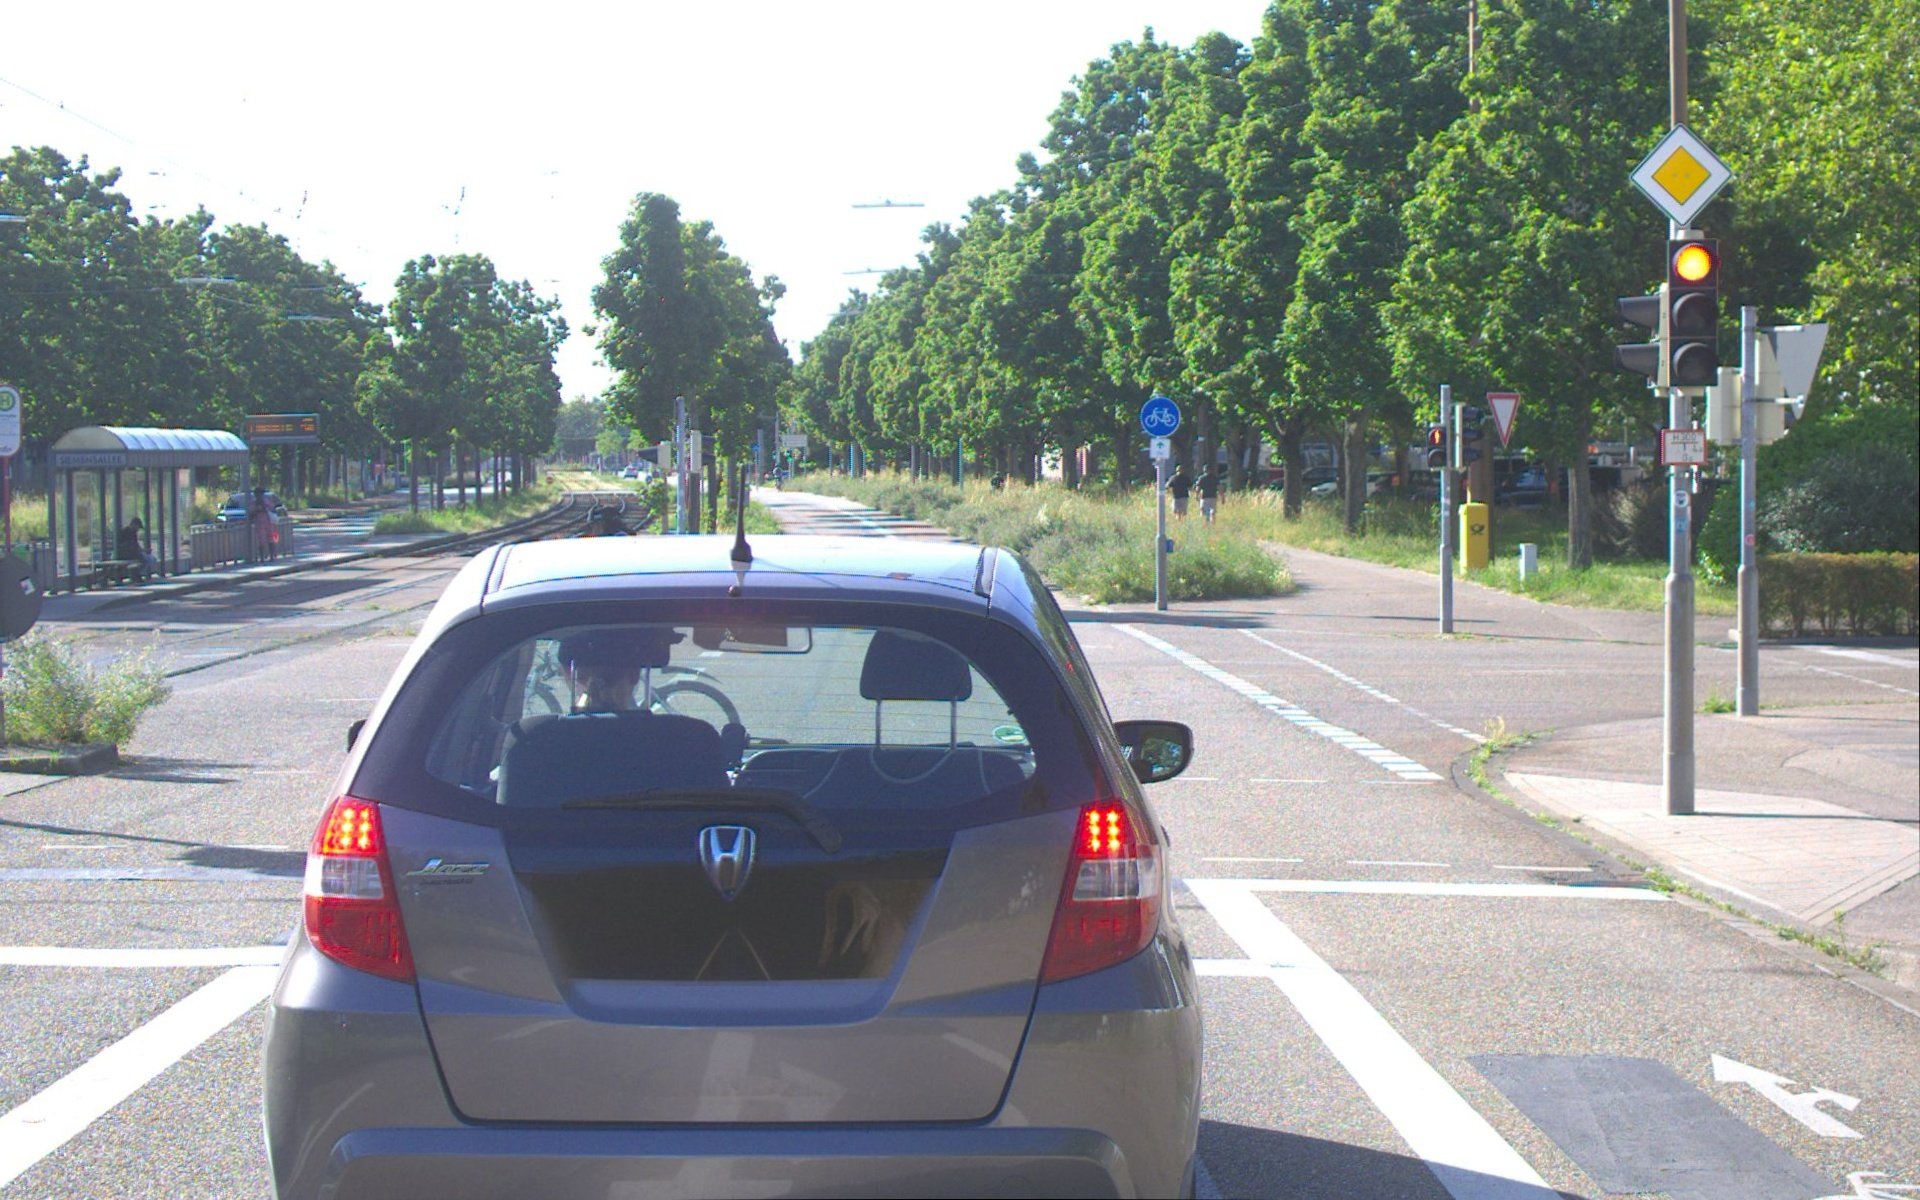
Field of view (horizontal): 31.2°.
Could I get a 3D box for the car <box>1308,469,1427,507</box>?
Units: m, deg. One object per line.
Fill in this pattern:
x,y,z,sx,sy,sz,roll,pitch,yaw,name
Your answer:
17.113,-4.710,144.532,4.630,1.550,2.001,-1,2,-6,car

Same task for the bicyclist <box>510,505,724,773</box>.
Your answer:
-2.064,0.222,20.816,1.232,1.588,0.805,0,1,-1,bicyclist

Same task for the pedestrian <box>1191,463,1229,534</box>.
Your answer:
6.702,-2.728,92.073,0.882,1.877,0.875,-1,2,-4,pedestrian

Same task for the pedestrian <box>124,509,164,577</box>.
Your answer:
-15.550,-1.088,65.532,0.563,1.252,0.581,-3,1,-1,pedestrian

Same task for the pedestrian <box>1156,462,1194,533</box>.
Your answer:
5.760,-2.741,92.046,0.882,1.877,0.875,-1,2,-4,pedestrian

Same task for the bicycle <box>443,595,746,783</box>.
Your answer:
-2.207,0.533,20.895,1.775,1.098,0.699,0,1,-1,bicycle

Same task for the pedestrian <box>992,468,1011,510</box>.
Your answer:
1.668,-4.494,139.733,0.725,1.685,0.821,0,0,-3,pedestrian

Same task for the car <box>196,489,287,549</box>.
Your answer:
-23.399,-2.668,112.186,2.093,1.803,4.794,-2,3,-3,car

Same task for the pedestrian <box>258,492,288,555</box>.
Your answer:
-16.002,-1.782,80.084,0.544,1.442,0.559,-1,1,-1,pedestrian

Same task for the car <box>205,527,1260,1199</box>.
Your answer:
-0.391,0.617,7.429,1.701,1.518,3.710,0,1,-1,car
